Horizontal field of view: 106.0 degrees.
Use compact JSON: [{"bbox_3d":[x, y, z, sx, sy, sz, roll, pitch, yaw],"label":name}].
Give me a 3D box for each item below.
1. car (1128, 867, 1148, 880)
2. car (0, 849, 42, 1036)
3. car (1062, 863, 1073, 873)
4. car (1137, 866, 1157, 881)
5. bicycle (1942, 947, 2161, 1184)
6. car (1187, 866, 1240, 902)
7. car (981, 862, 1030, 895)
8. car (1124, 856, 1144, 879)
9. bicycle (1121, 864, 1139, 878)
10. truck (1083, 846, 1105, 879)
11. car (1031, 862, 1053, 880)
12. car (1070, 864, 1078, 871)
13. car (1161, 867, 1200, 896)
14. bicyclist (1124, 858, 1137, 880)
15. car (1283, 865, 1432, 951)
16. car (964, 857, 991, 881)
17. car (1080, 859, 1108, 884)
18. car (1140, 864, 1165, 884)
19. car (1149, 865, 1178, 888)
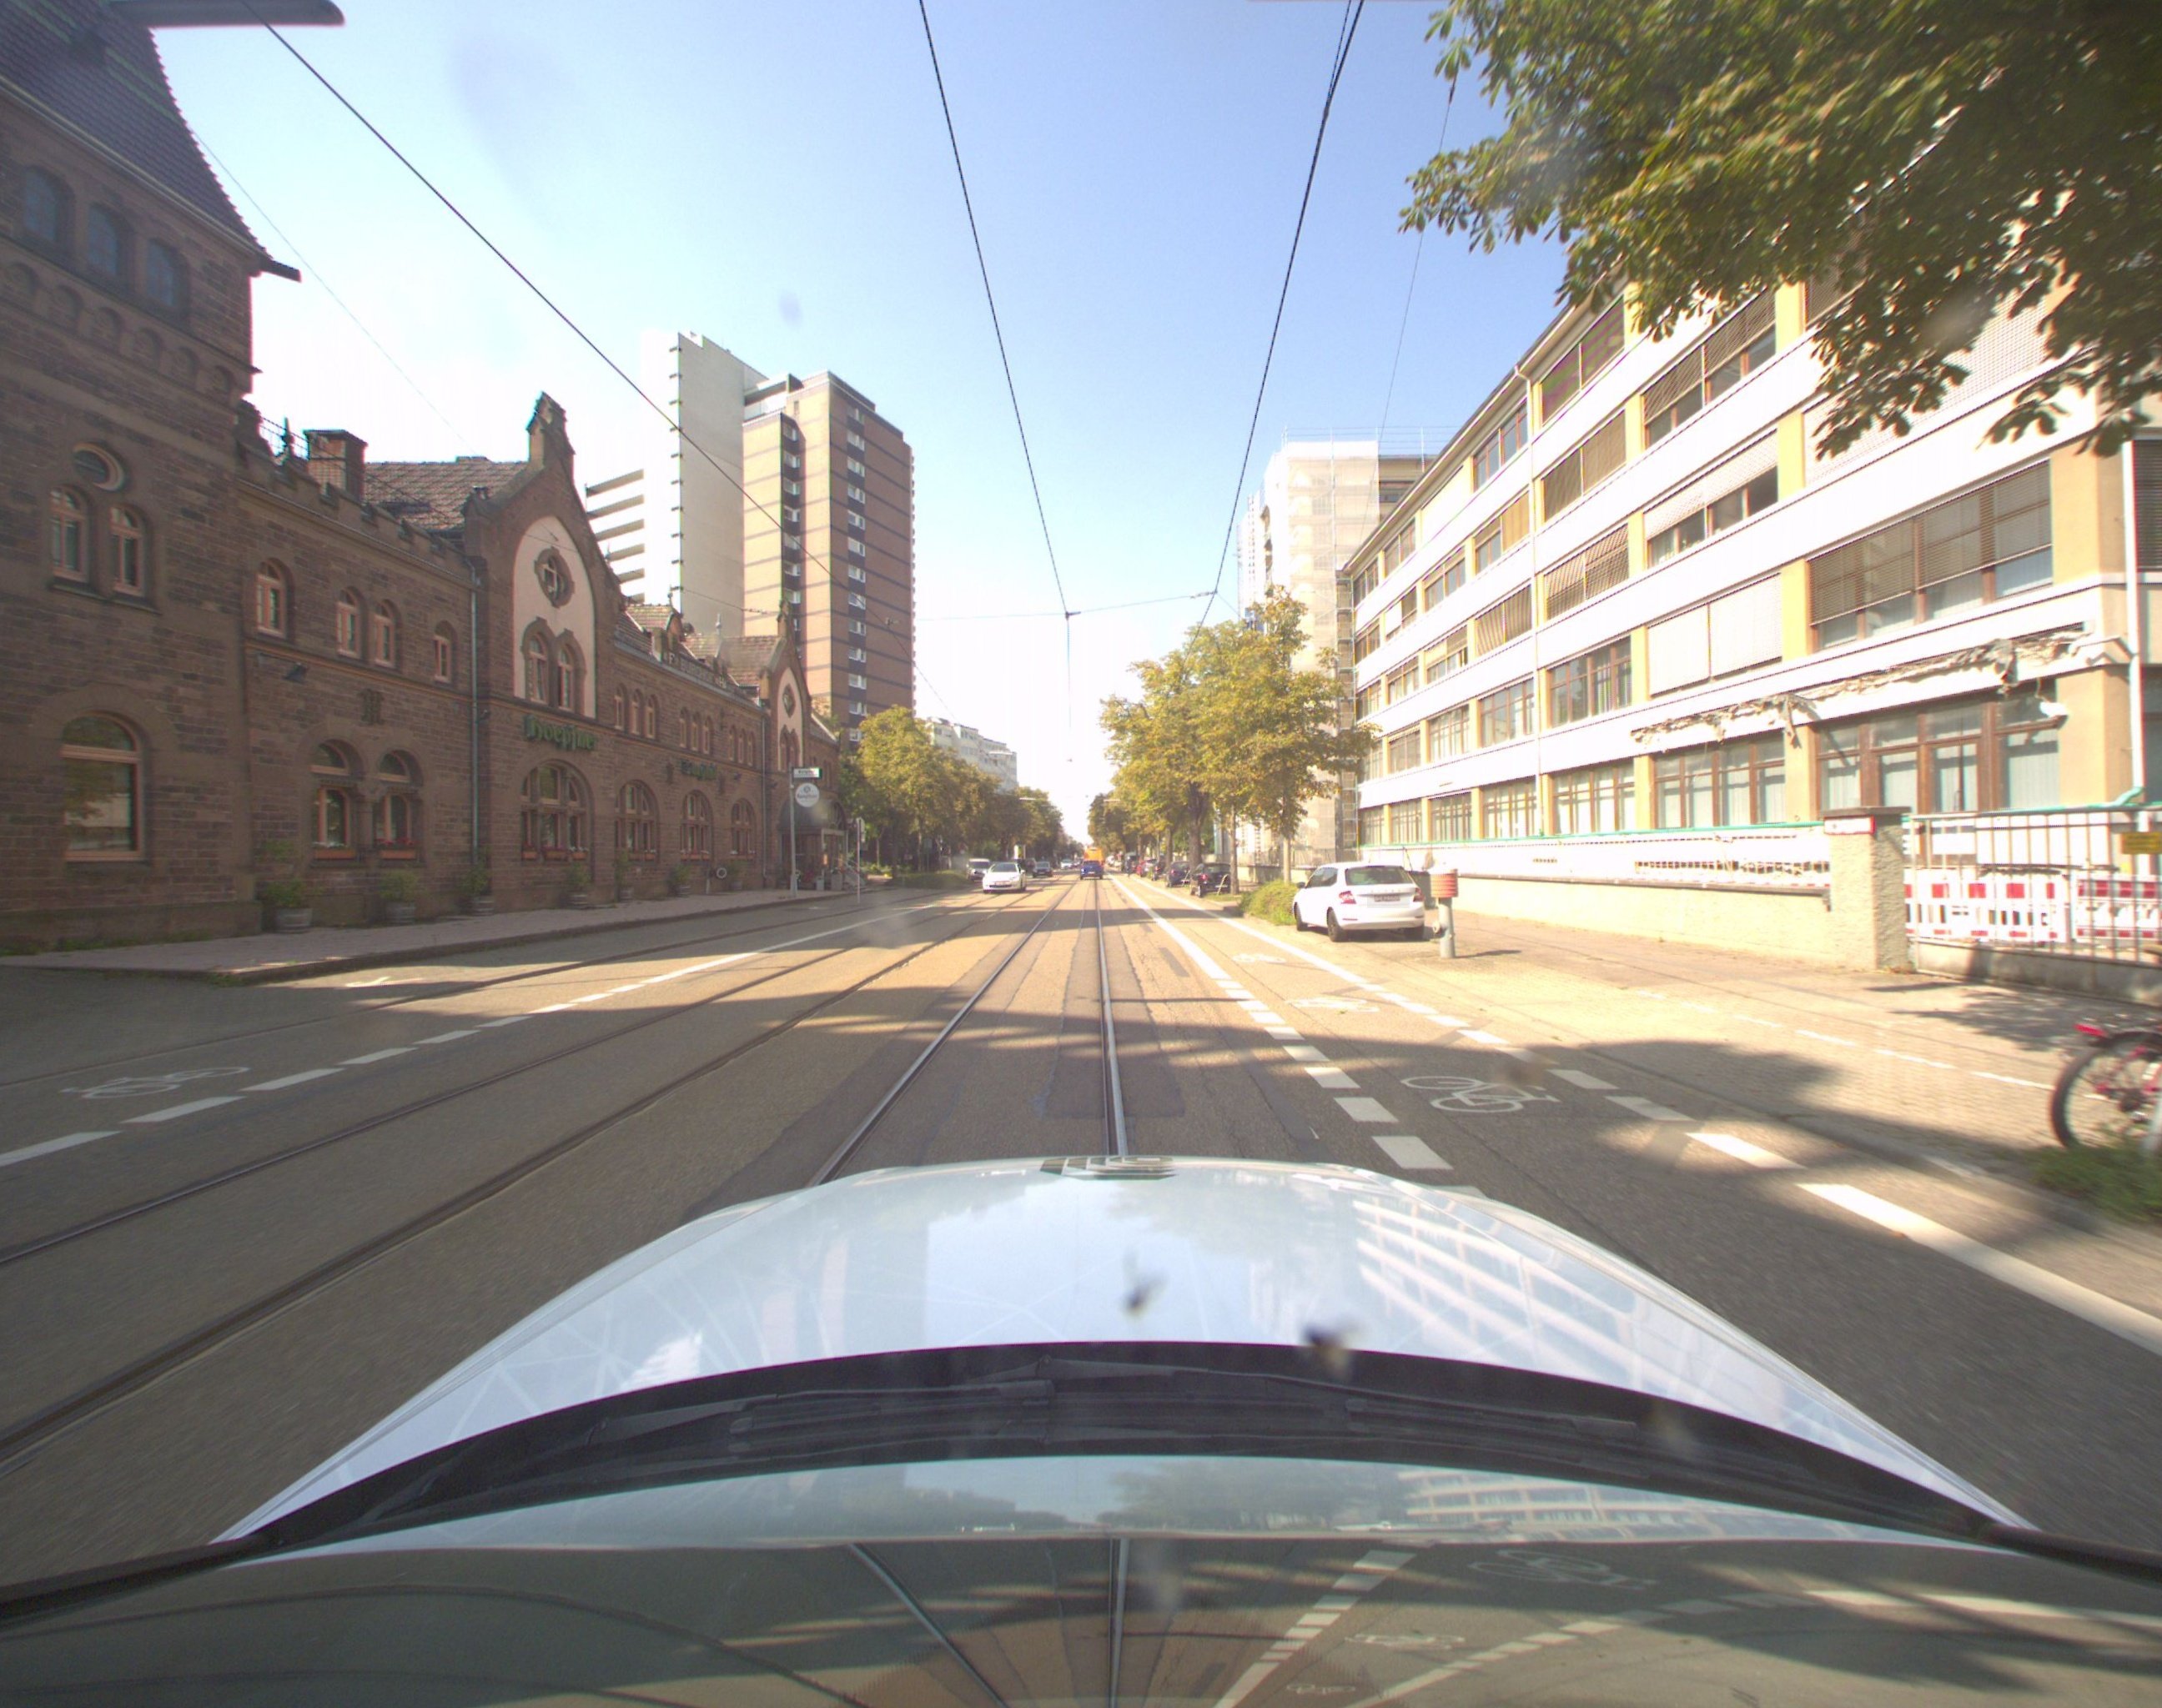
[{"bbox_3d":[6.339,2.123,90.215,1.902,1.432,4.291,-1,-1,0],"label":"car"},{"bbox_3d":[-12.197,0.751,6.920,4.120,1.744,2.001,2,-1,1],"label":"car"},{"bbox_3d":[-2.275,2.416,137.230,1.774,1.684,4.346,0,-1,0],"label":"car"},{"bbox_3d":[6.473,1.917,80.077,1.735,1.463,3.683,-1,-1,0],"label":"car"},{"bbox_3d":[5.248,0.948,3.821,1.806,0.958,0.558,-1,-1,0],"label":"bicycle"},{"bbox_3d":[5.610,1.257,34.960,1.653,1.408,4.218,-2,-1,1],"label":"car"},{"bbox_3d":[-3.690,1.178,40.539,1.840,1.492,4.868,-1,-1,2],"label":"car"},{"bbox_3d":[6.516,1.657,100.817,1.987,2.756,5.760,-1,-1,0],"label":"car"},{"bbox_3d":[4.088,1.435,68.300,1.397,1.134,4.000,-1,-1,1],"label":"bicycle"},{"bbox_3d":[1.375,0.883,83.843,2.128,3.124,6.085,-2,-1,1],"label":"truck"},{"bbox_3d":[-3.509,1.522,74.662,1.675,1.571,4.207,-1,-1,2],"label":"car"},{"bbox_3d":[-1.477,2.880,173.377,1.628,1.585,4.187,-1,-1,0],"label":"car"},{"bbox_3d":[5.637,1.522,46.508,1.736,1.556,4.218,-2,-1,1],"label":"car"},{"bbox_3d":[4.122,1.272,68.277,1.028,1.812,1.016,-1,-1,0],"label":"bicyclist"},{"bbox_3d":[5.434,0.992,16.581,1.653,1.481,4.218,-2,-1,1],"label":"car"},{"bbox_3d":[-8.072,1.169,63.526,1.748,1.796,3.983,0,-1,-12],"label":"car"},{"bbox_3d":[1.043,1.355,64.729,2.128,1.858,5.569,-2,-1,1],"label":"car"},{"bbox_3d":[6.096,1.688,69.699,1.735,1.668,4.361,-1,-1,0],"label":"car"},{"bbox_3d":[5.997,1.605,59.605,1.628,1.585,4.187,-1,-1,0],"label":"car"}]
